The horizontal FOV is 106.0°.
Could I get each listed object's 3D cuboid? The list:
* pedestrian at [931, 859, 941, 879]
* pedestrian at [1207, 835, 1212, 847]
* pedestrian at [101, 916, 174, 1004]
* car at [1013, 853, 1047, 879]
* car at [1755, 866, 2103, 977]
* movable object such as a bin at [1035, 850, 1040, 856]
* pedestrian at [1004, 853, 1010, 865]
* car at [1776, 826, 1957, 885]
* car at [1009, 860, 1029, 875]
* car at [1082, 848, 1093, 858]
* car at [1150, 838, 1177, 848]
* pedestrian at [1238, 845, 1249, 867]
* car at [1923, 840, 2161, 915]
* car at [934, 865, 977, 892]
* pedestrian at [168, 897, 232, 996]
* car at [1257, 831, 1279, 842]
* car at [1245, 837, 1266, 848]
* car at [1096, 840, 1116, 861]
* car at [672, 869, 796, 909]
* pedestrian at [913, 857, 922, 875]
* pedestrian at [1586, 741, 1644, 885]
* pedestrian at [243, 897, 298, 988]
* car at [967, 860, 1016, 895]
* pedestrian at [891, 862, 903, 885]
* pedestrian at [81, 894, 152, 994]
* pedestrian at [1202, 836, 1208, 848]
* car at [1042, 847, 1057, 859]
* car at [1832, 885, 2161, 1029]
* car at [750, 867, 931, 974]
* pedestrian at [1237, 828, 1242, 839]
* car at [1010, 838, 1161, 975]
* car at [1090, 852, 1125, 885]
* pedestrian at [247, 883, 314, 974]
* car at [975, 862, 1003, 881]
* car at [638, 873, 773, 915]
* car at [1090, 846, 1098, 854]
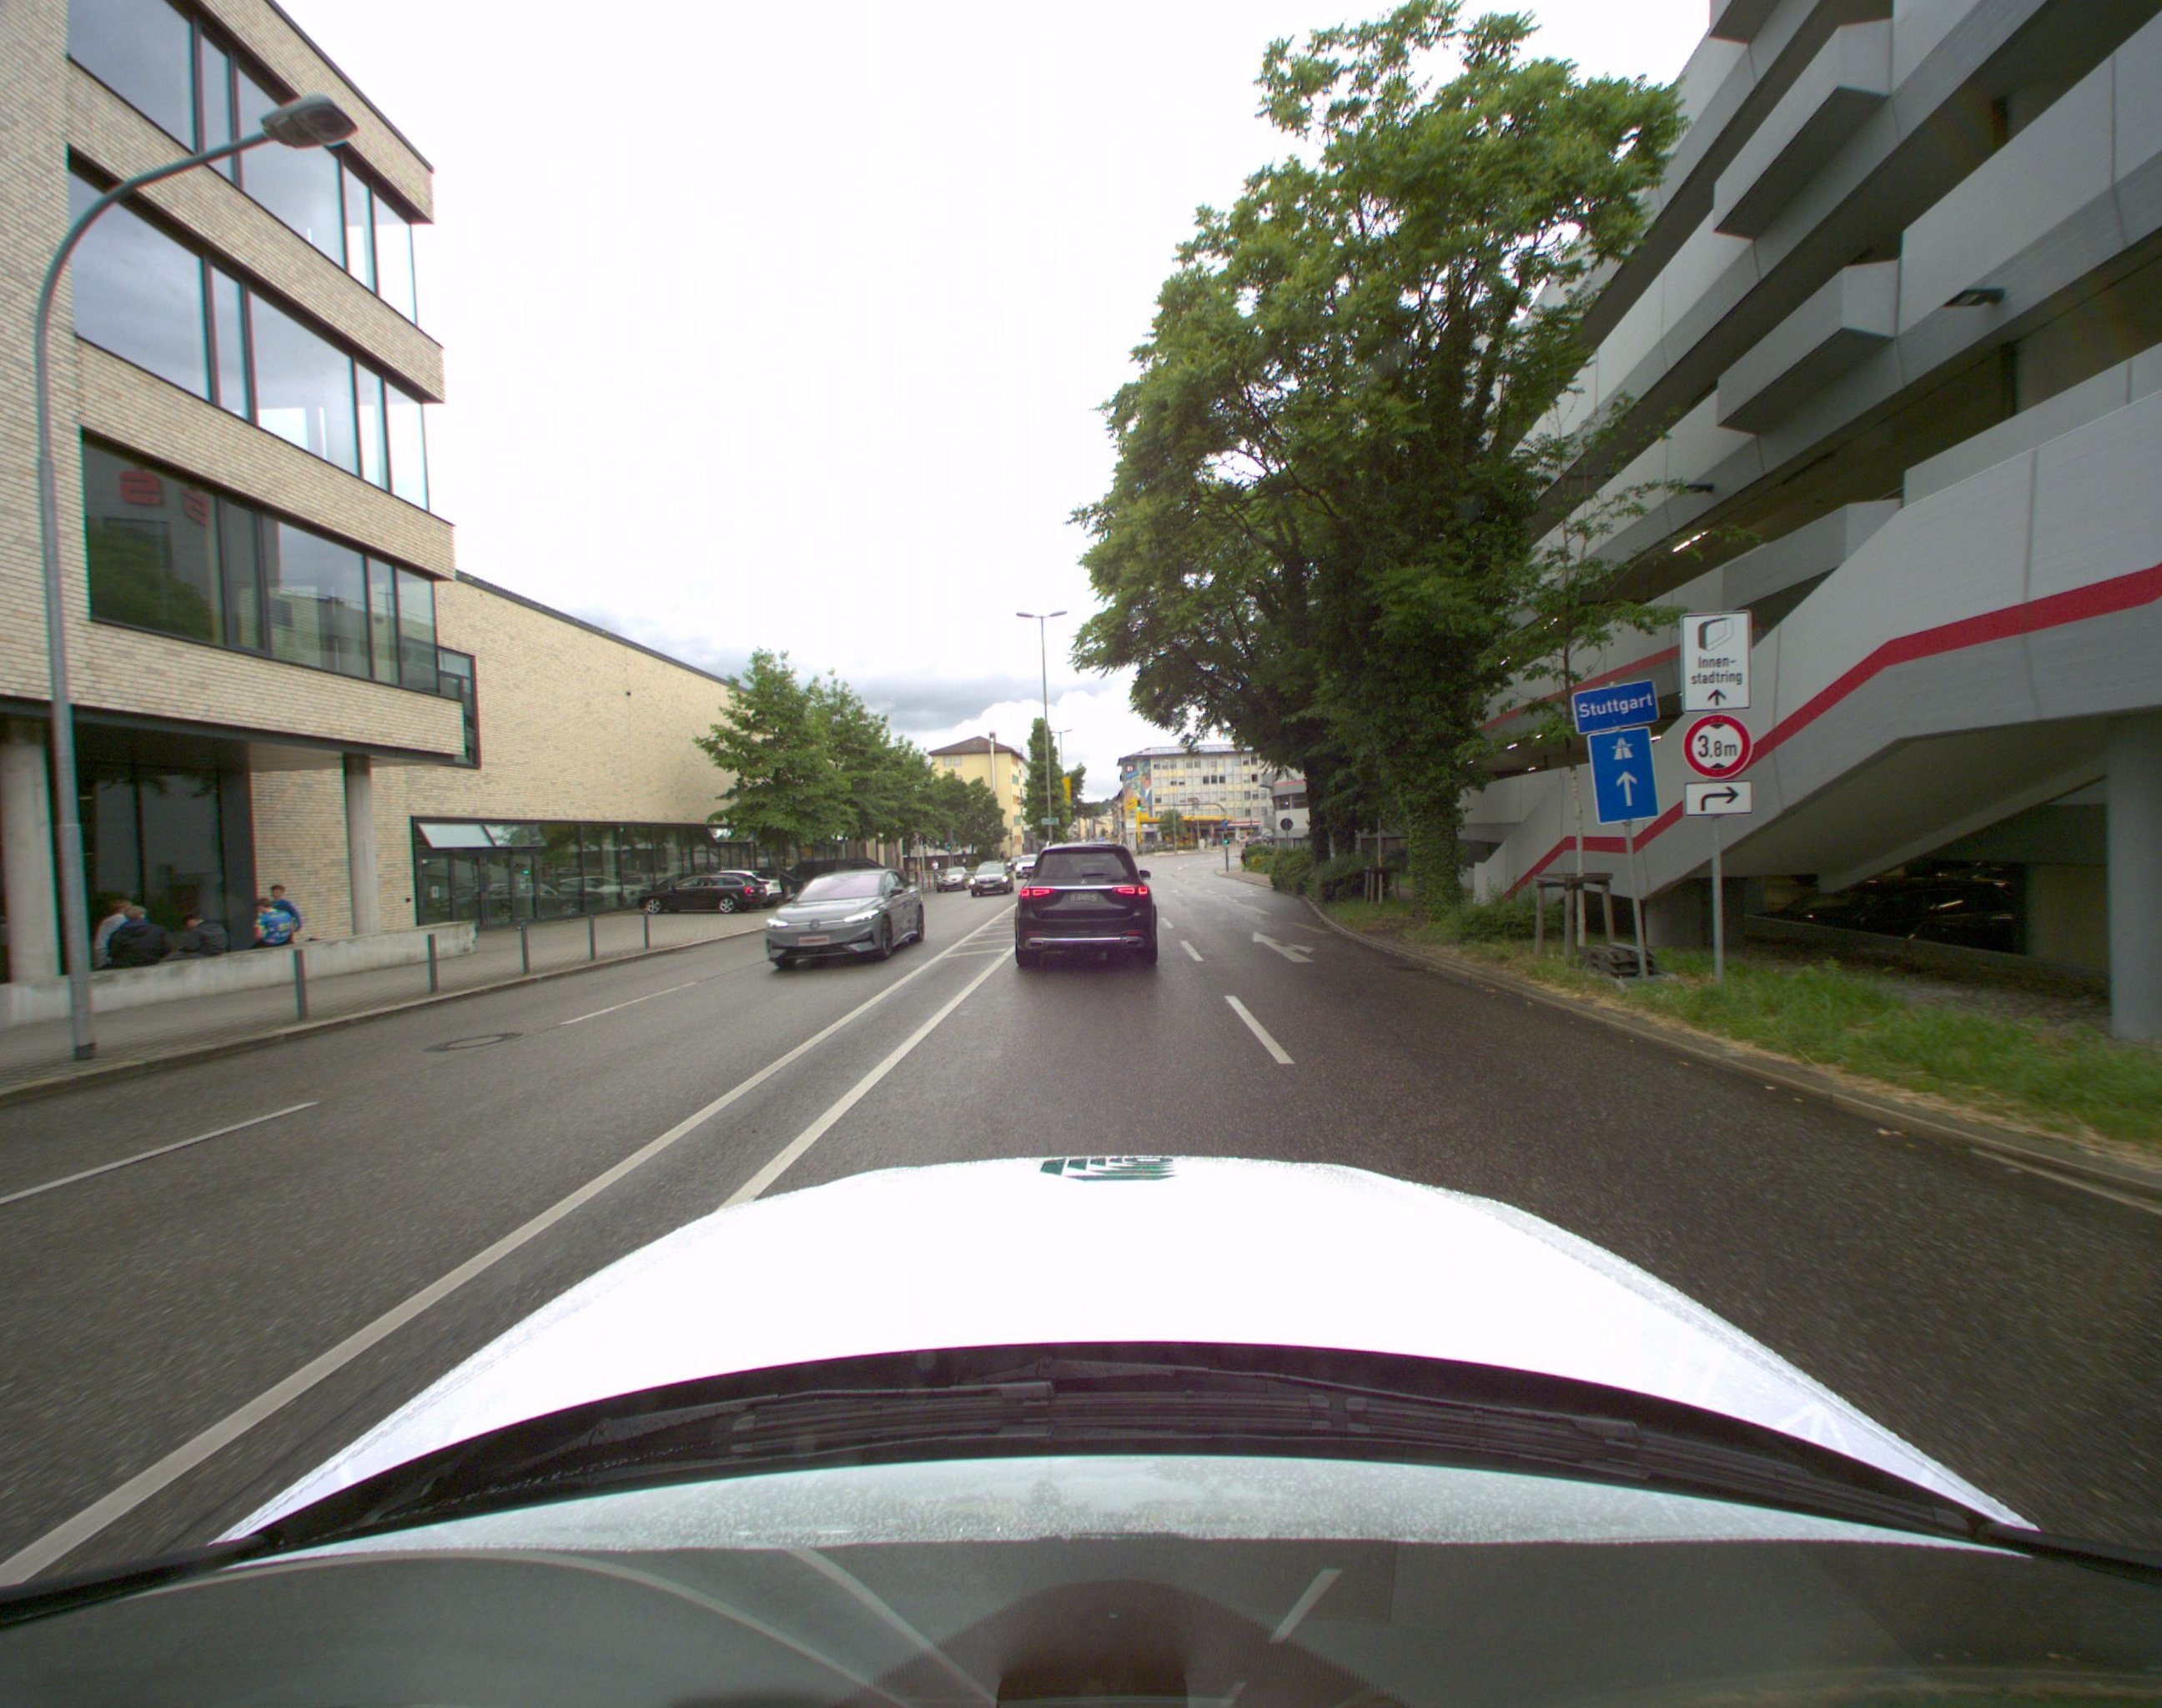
[{"bbox_3d":[-12.372,1.262,69.420,0.688,1.656,0.612,-3,0,-6],"label":"pedestrian"},{"bbox_3d":[18.624,-1.826,118.011,0.570,1.697,0.631,-1,-1,3],"label":"pedestrian"},{"bbox_3d":[-13.555,1.507,11.709,0.546,1.215,0.422,-1,-1,4],"label":"pedestrian"},{"bbox_3d":[-3.971,0.892,64.040,1.882,1.811,4.581,-4,0,5],"label":"car"},{"bbox_3d":[13.851,1.085,13.541,3.713,1.540,1.815,-1,3,7],"label":"car"},{"bbox_3d":[-7.468,-0.185,139.652,0.906,1.038,0.844,-1,-1,2],"label":"movable object such as a bin"},{"bbox_3d":[-10.197,0.685,112.529,0.647,1.727,0.628,-3,0,-2],"label":"pedestrian"},{"bbox_3d":[26.162,0.043,27.284,3.958,1.783,1.823,-2,0,14],"label":"car"},{"bbox_3d":[-6.423,1.402,85.095,1.727,1.393,4.198,-4,0,-1],"label":"car"},{"bbox_3d":[1.171,-0.153,145.074,1.987,1.614,4.188,0,-1,-1],"label":"car"},{"bbox_3d":[12.813,-1.669,126.591,1.747,1.376,3.952,-3,0,-42],"label":"car"},{"bbox_3d":[12.631,0.172,63.320,0.639,1.710,0.474,-2,-2,38],"label":"pedestrian"},{"bbox_3d":[25.265,0.609,21.408,3.958,1.783,1.823,-2,0,14],"label":"car"},{"bbox_3d":[-7.493,1.458,49.081,1.823,1.388,4.229,-4,0,0],"label":"car"},{"bbox_3d":[-13.582,1.410,12.563,0.448,1.475,0.463,0,-1,-4],"label":"pedestrian"},{"bbox_3d":[31.281,-2.926,136.125,1.974,1.706,4.026,-3,0,35],"label":"car"},{"bbox_3d":[24.861,-1.686,115.979,1.779,1.525,4.081,0,1,29],"label":"car"},{"bbox_3d":[2.500,-0.286,81.920,1.986,2.014,4.001,0,-1,1],"label":"car"},{"bbox_3d":[-14.049,1.405,33.125,4.158,1.547,2.002,-1,-1,3],"label":"car"},{"bbox_3d":[-13.973,1.021,69.508,0.435,1.534,0.548,-3,0,16],"label":"pedestrian"},{"bbox_3d":[8.179,-0.614,12.494,0.511,2.154,0.494,-2,-1,6],"label":"pedestrian"},{"bbox_3d":[-13.658,1.475,13.731,0.448,1.475,0.463,0,-1,-4],"label":"pedestrian"},{"bbox_3d":[-4.259,1.103,39.322,1.806,1.462,4.286,-4,-1,-1],"label":"car"},{"bbox_3d":[-13.445,1.409,59.493,0.641,1.666,1.017,0,-1,-4],"label":"pedestrian"},{"bbox_3d":[-14.910,1.375,12.605,0.440,1.475,0.528,0,-1,-3],"label":"pedestrian"},{"bbox_3d":[18.106,-1.723,118.712,0.521,1.727,0.693,-2,0,31],"label":"pedestrian"},{"bbox_3d":[-4.682,-0.110,122.132,1.882,1.586,4.536,-4,0,0],"label":"car"},{"bbox_3d":[12.886,1.301,10.803,3.966,1.624,1.841,-1,0,6],"label":"car"},{"bbox_3d":[-4.131,1.057,14.831,1.877,1.498,4.560,-4,0,-1],"label":"car"},{"bbox_3d":[26.176,-3.362,134.197,0.521,1.727,0.693,-2,0,29],"label":"pedestrian"},{"bbox_3d":[0.124,0.722,12.800,1.986,1.800,4.001,-1,-1,2],"label":"car"},{"bbox_3d":[1.583,0.851,48.084,1.986,1.800,4.001,-1,-1,2],"label":"car"},{"bbox_3d":[-15.613,1.434,15.902,0.704,1.714,0.633,0,-1,-19],"label":"pedestrian"},{"bbox_3d":[-7.602,1.432,67.372,1.740,1.412,3.970,-4,0,0],"label":"car"},{"bbox_3d":[-14.100,1.482,30.802,4.169,1.495,1.996,0,-1,-5],"label":"car"},{"bbox_3d":[3.429,-1.042,209.463,1.985,2.014,4.002,-1,-1,3],"label":"car"}]
